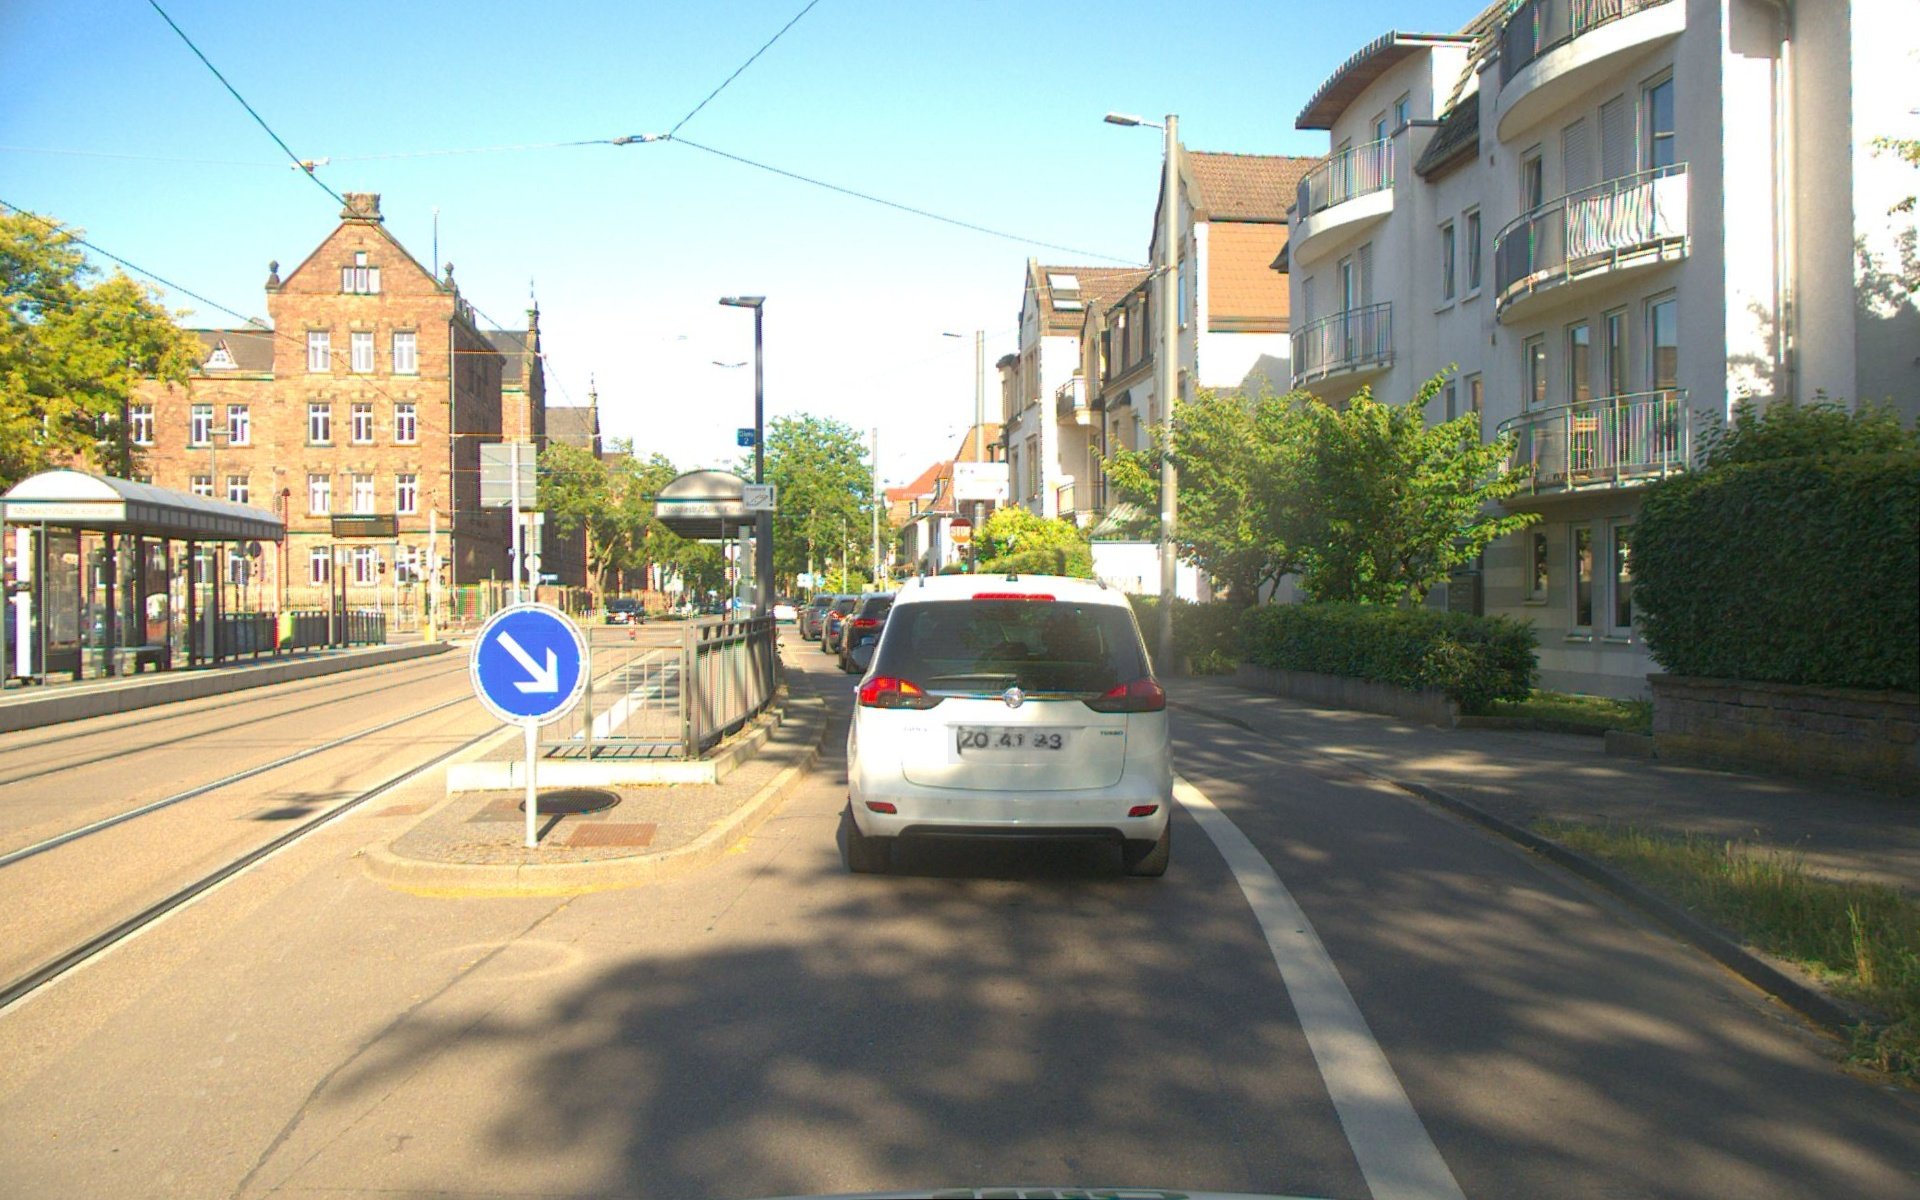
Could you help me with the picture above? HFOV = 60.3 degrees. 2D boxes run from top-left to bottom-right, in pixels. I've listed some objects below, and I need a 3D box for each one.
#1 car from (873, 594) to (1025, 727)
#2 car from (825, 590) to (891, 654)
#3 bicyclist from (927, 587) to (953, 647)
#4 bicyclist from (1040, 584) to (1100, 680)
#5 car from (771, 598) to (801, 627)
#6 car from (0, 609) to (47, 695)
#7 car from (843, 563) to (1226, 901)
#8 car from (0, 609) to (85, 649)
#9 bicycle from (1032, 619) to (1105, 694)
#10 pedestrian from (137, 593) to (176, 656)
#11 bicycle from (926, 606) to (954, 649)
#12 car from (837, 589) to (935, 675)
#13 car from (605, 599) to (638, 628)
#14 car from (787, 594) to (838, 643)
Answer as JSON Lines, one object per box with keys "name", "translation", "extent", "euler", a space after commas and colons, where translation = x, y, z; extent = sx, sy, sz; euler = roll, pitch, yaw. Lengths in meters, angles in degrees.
{"name": "car", "translation": [-0.220, 0.661, 20.389], "extent": [1.555, 1.445, 3.896], "euler": [-1, 0, -5]}
{"name": "car", "translation": [-2.768, 0.593, 45.095], "extent": [1.740, 1.660, 3.878], "euler": [0, 0, -3]}
{"name": "bicyclist", "translation": [-0.576, 0.471, 46.530], "extent": [0.672, 1.663, 1.014], "euler": [0, -1, -5]}
{"name": "bicyclist", "translation": [1.781, 0.513, 26.951], "extent": [0.805, 1.528, 0.933], "euler": [0, -1, -8]}
{"name": "car", "translation": [-10.740, 0.760, 102.160], "extent": [1.741, 1.722, 3.876], "euler": [0, 0, -5]}
{"name": "car", "translation": [-17.089, 0.933, 27.421], "extent": [1.819, 1.427, 3.979], "euler": [-5, -1, -4]}
{"name": "car", "translation": [0.248, 0.663, 10.238], "extent": [1.800, 1.671, 3.913], "euler": [0, 0, -6]}
{"name": "car", "translation": [-37.164, 1.148, 65.492], "extent": [3.985, 1.548, 1.875], "euler": [0, 0, -5]}
{"name": "bicycle", "translation": [1.758, 0.901, 27.113], "extent": [0.813, 1.175, 2.091], "euler": [0, 0, -7]}
{"name": "pedestrian", "translation": [-24.691, 0.746, 50.857], "extent": [0.712, 1.893, 1.095], "euler": [0, -1, -5]}
{"name": "bicycle", "translation": [-0.572, 0.766, 46.438], "extent": [0.672, 1.177, 1.618], "euler": [0, 0, -5]}
{"name": "car", "translation": [-1.585, 0.624, 34.024], "extent": [1.742, 1.660, 3.874], "euler": [0, 0, -7]}
{"name": "car", "translation": [-20.344, 0.794, 99.476], "extent": [1.872, 1.706, 4.346], "euler": [0, 0, -11]}
{"name": "car", "translation": [-5.215, 0.648, 58.584], "extent": [1.741, 1.660, 3.876], "euler": [0, 0, -5]}
